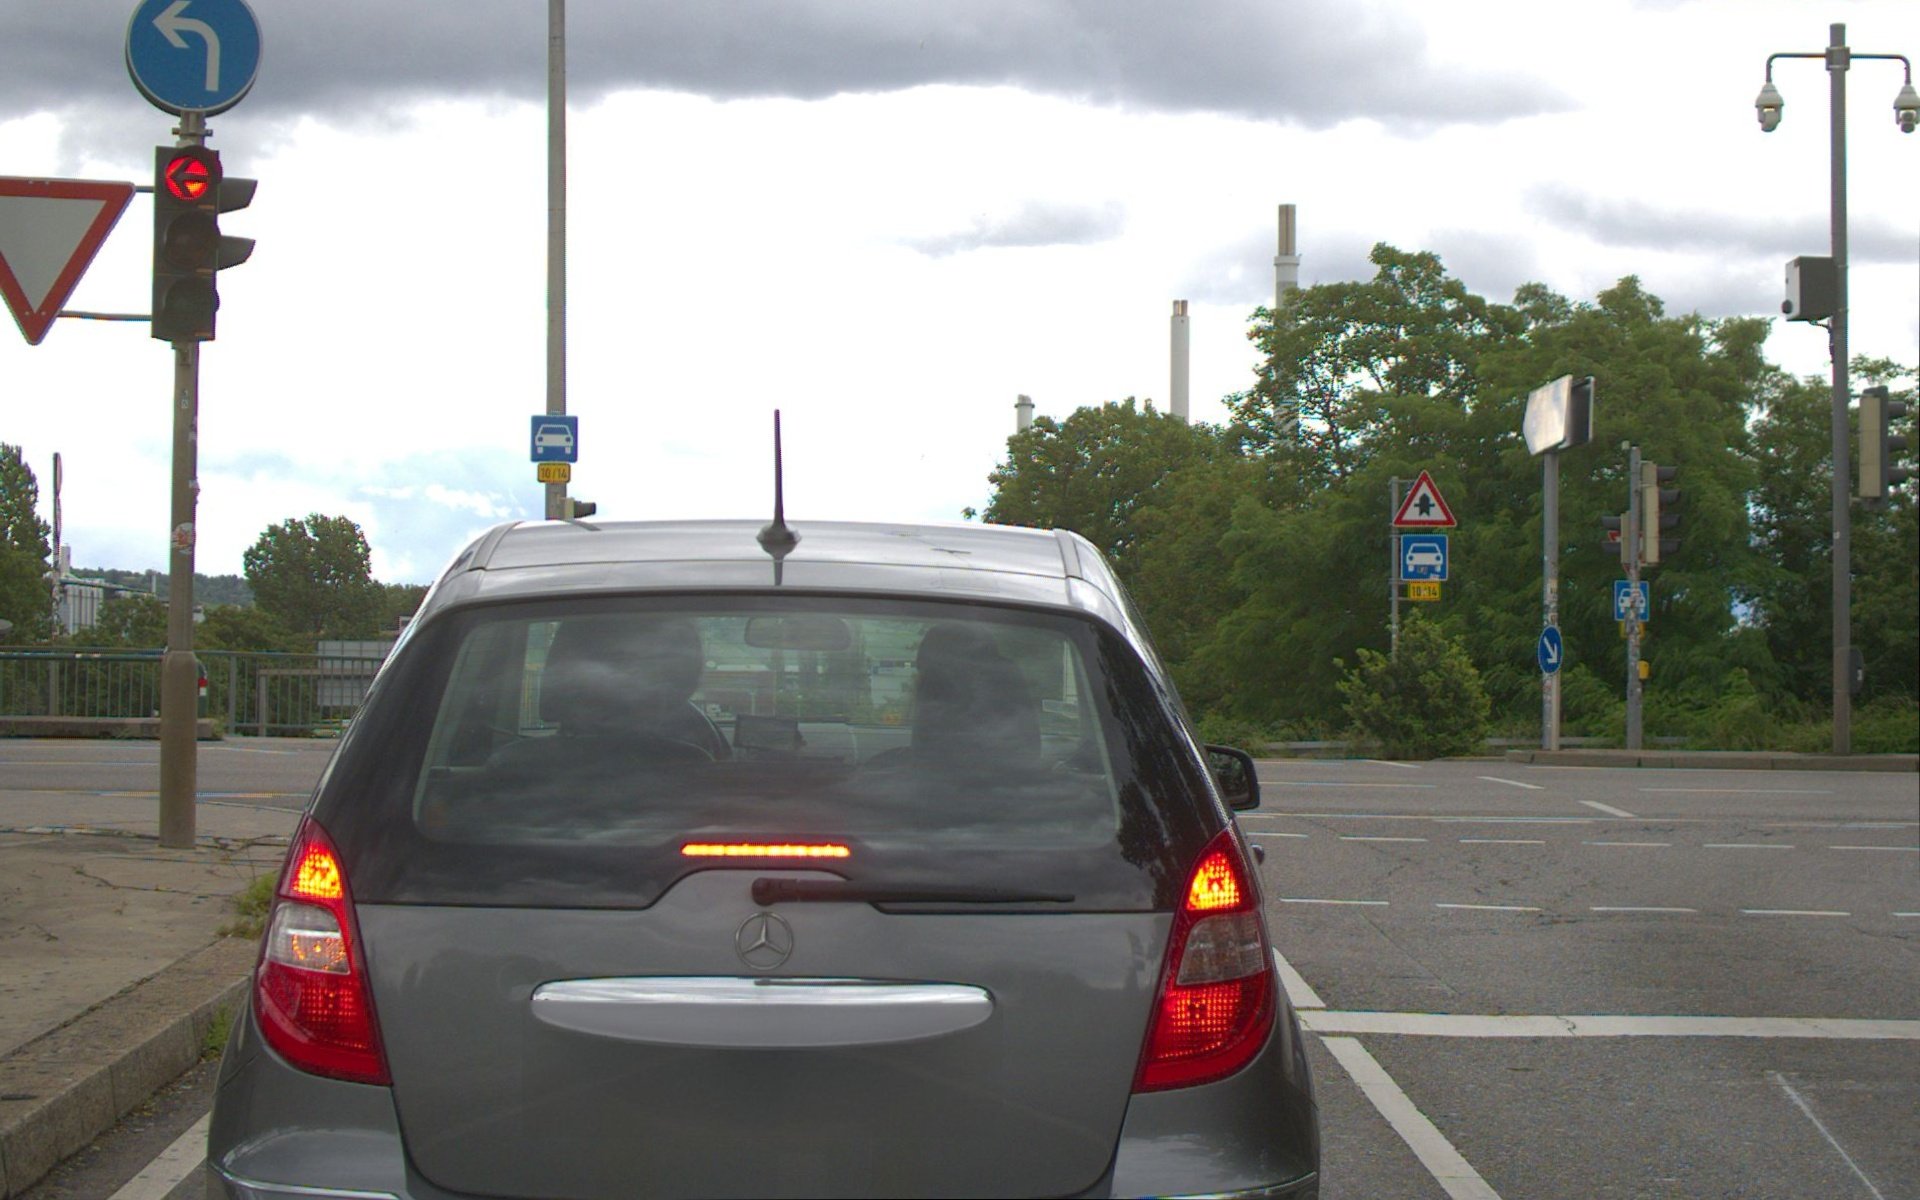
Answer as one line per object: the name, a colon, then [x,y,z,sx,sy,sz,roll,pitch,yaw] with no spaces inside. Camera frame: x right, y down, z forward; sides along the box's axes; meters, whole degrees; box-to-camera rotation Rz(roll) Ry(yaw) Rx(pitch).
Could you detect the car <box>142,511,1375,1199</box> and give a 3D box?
car: [-0.304,0.636,6.659,1.739,1.538,3.541,1,1,0]
